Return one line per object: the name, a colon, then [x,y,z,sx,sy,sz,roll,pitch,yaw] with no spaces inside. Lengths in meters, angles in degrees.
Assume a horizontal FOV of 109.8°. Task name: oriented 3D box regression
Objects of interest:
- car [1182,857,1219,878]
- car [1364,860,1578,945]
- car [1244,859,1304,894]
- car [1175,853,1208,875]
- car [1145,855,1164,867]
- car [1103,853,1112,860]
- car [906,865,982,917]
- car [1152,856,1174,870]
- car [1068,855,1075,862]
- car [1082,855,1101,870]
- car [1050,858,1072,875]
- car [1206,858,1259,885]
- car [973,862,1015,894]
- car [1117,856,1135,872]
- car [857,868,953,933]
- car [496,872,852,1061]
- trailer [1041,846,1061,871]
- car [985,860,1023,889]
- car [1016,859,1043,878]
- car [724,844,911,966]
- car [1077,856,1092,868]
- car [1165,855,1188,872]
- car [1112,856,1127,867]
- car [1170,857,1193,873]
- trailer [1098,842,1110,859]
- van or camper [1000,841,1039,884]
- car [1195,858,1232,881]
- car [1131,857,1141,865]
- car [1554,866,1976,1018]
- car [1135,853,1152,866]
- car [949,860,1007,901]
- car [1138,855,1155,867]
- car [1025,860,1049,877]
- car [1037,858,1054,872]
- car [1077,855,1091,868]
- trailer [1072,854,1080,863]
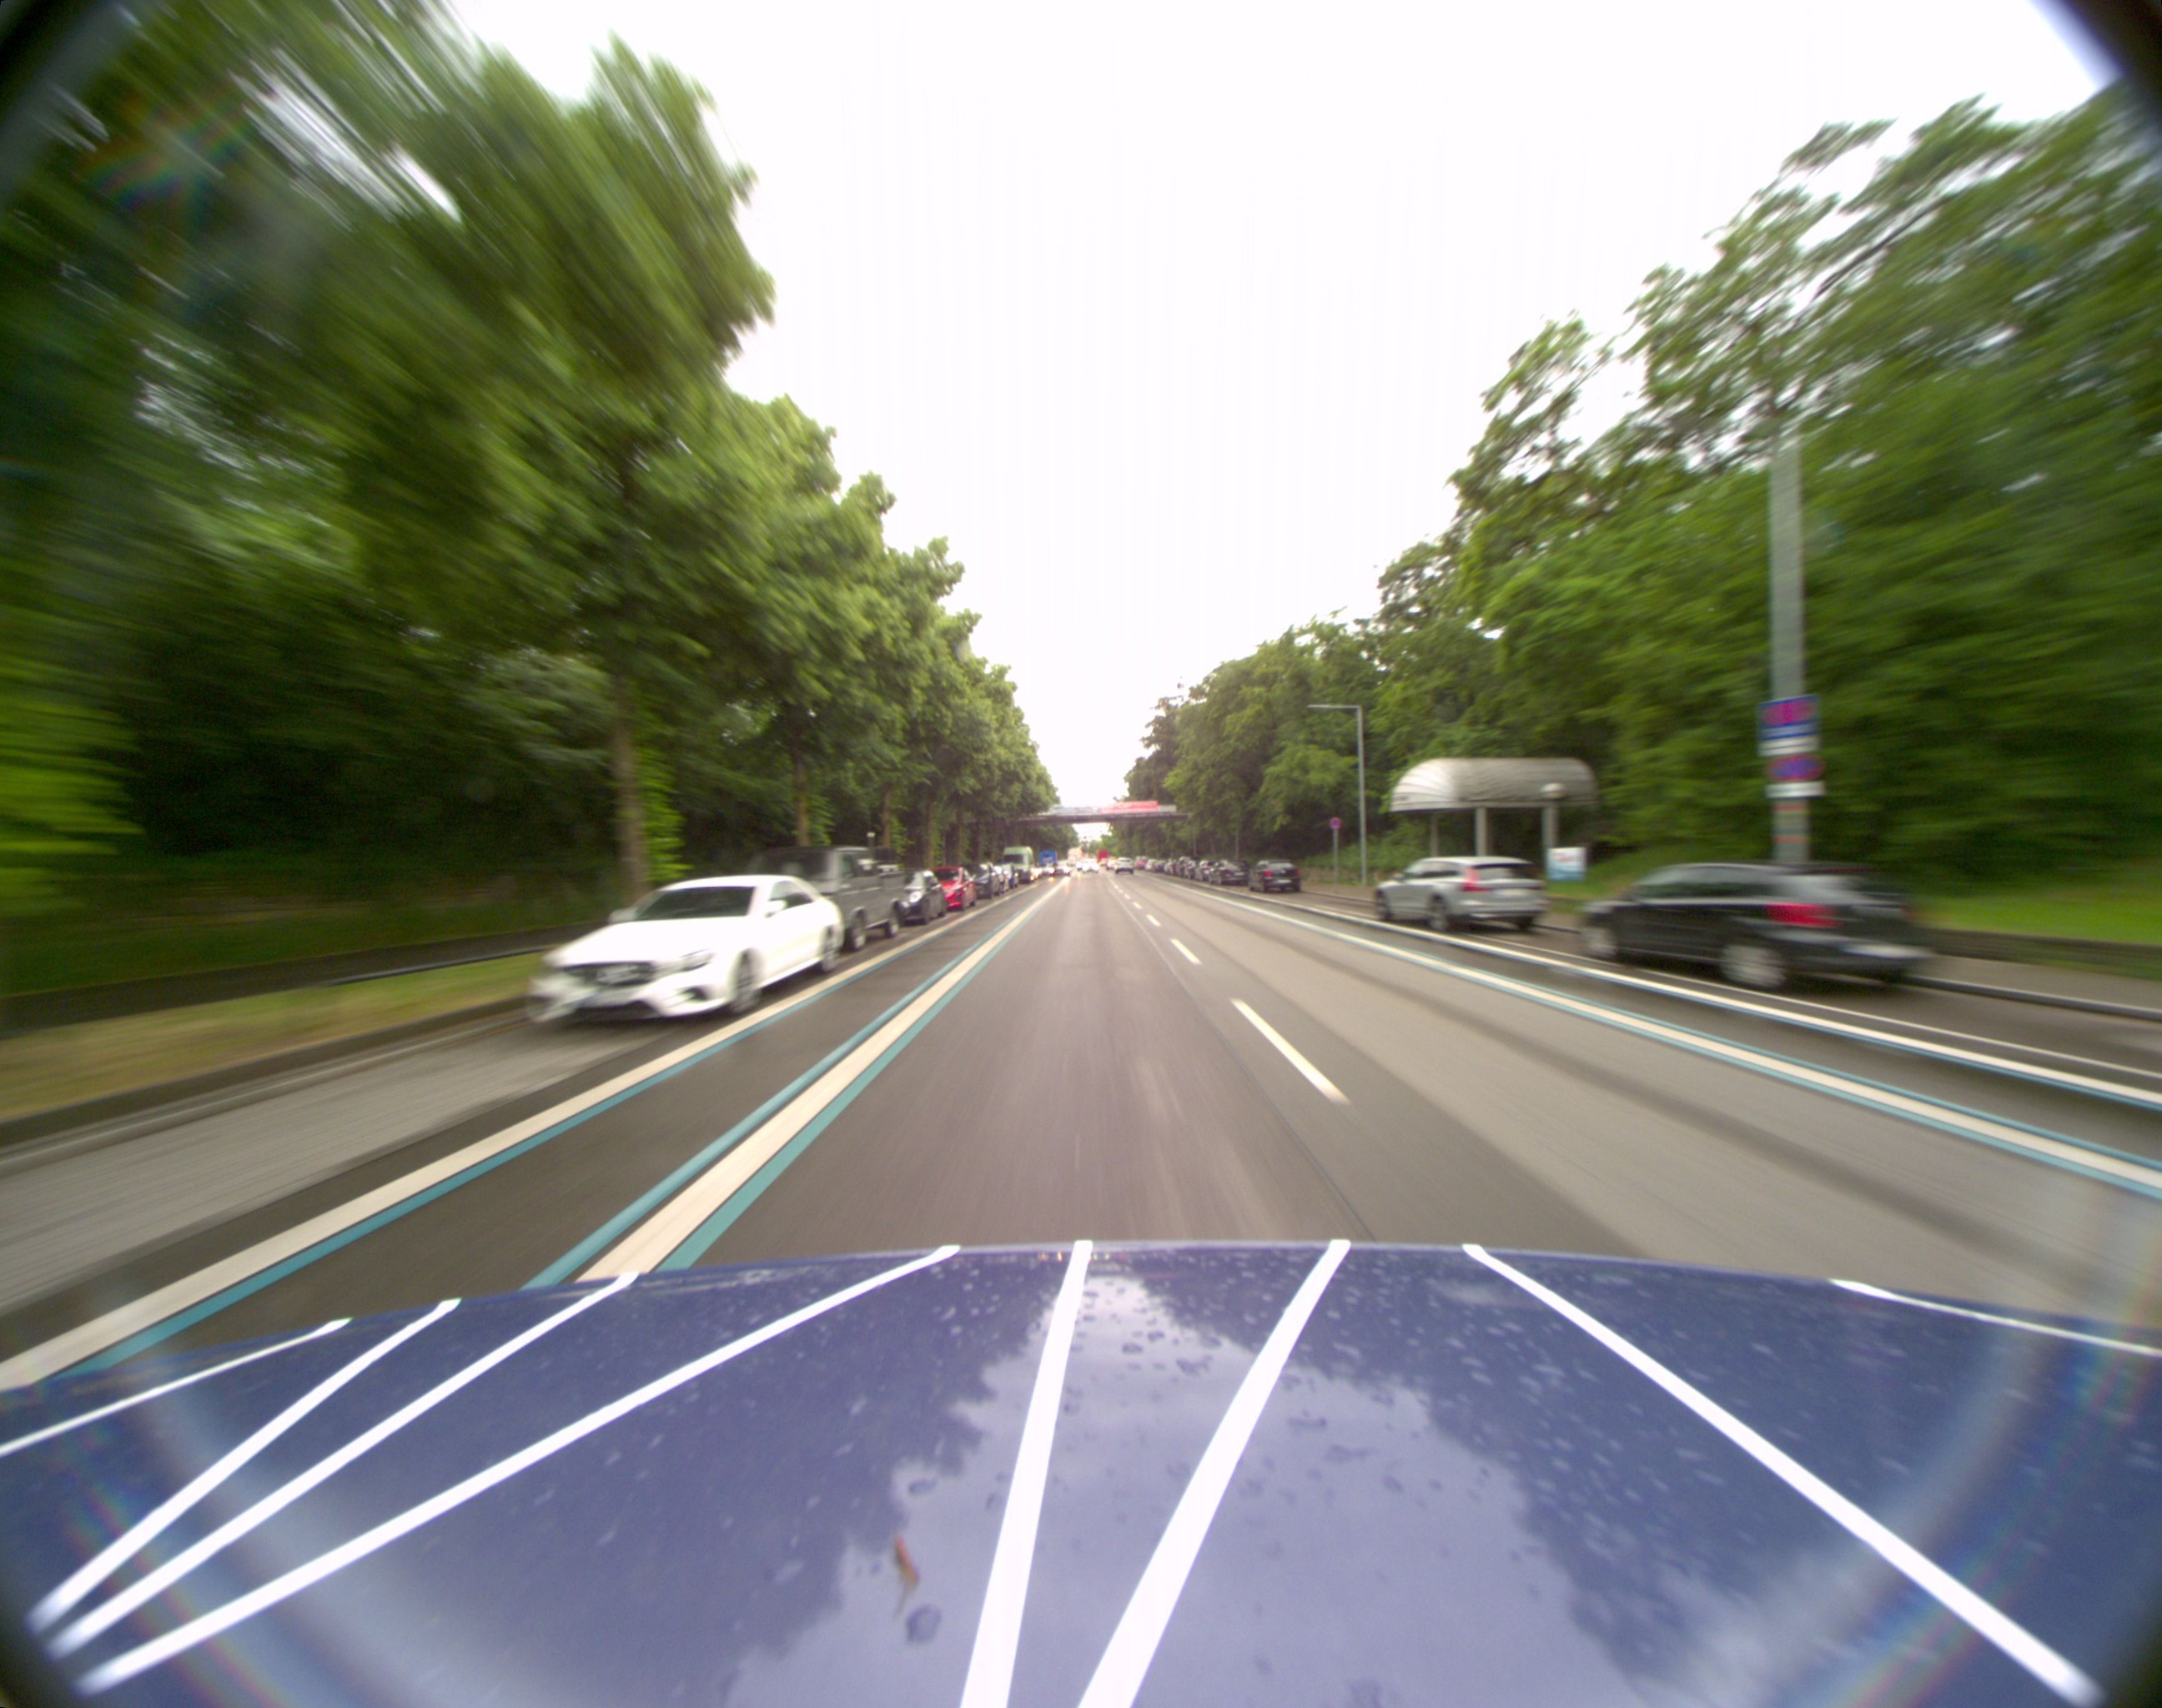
car: [8.990,0.987,57.541,1.988,1.464,4.898,-2,-1,0]
car: [8.022,0.902,16.260,2.082,1.473,4.672,-2,0,-1]
car: [8.644,0.960,34.368,1.675,1.449,3.993,-1,0,0]
car: [9.173,0.810,63.286,1.995,1.731,4.838,-1,-1,0]
car: [9.095,0.861,94.203,1.794,1.473,3.982,-1,0,-1]
car: [5.800,0.526,165.918,1.838,1.657,4.180,-1,0,0]
car: [-4.451,1.162,25.292,1.690,1.444,4.165,-3,0,0]
car: [8.948,1.014,83.638,1.836,1.468,4.040,-1,-1,-2]
car: [-2.238,1.081,178.516,1.700,1.468,3.997,-1,0,-2]
car: [1.188,0.910,83.568,1.998,1.588,4.000,-2,0,1]
car: [-1.822,1.131,70.723,1.822,1.499,4.139,-2,0,2]
car: [8.624,0.971,43.636,1.961,1.454,4.756,-1,0,-1]
car: [-4.349,1.171,38.403,1.690,1.447,4.145,-3,0,-2]
car: [4.596,0.980,78.132,1.800,1.642,4.129,0,0,1]
car: [-4.579,1.158,20.269,1.610,1.444,3.747,-3,0,0]
car: [-4.492,1.093,9.460,1.794,1.534,4.889,-3,0,-1]
trailer: [-3.346,0.480,85.271,1.957,2.742,4.007,-2,0,1]
car: [-4.438,1.151,44.080,1.690,1.504,3.835,-3,0,1]
car: [-4.087,1.151,61.275,1.690,1.408,4.100,-2,0,2]
car: [-4.872,0.839,14.872,1.931,2.010,4.663,-1,0,1]
car: [0.517,1.081,103.833,1.998,1.629,4.000,-1,0,1]
car: [9.146,0.946,73.126,1.692,1.537,4.233,-1,-1,0]
car: [5.234,1.005,104.708,1.926,1.551,4.621,0,0,1]
car: [9.075,1.000,68.782,1.613,1.430,3.844,-1,-1,1]
trailer: [5.940,-0.765,198.807,2.695,4.234,12.767,1,0,-1]
van or camper: [-4.255,0.578,53.646,2.047,2.713,6.900,-3,0,0]
car: [8.857,1.027,51.271,1.788,1.415,4.296,-1,-1,1]
car: [10.448,1.265,144.871,1.694,1.397,4.028,-2,-1,2]
car: [8.116,0.918,9.636,1.700,1.428,4.054,-1,0,0]
car: [9.812,0.901,119.944,1.979,1.993,5.017,-2,-1,-4]
car: [-4.396,1.091,32.980,1.760,1.580,4.499,-3,0,1]
car: [9.522,1.047,110.928,2.015,1.596,4.780,-1,-1,0]
car: [-3.839,1.244,66.715,1.690,1.408,4.197,-2,0,1]
car: [-3.659,1.135,78.410,1.588,1.345,3.862,-3,0,-2]
car: [0.435,0.978,103.455,1.850,1.718,3.730,-2,0,1]
trailer: [-1.345,1.236,208.079,1.988,2.550,3.999,-2,0,-2]
